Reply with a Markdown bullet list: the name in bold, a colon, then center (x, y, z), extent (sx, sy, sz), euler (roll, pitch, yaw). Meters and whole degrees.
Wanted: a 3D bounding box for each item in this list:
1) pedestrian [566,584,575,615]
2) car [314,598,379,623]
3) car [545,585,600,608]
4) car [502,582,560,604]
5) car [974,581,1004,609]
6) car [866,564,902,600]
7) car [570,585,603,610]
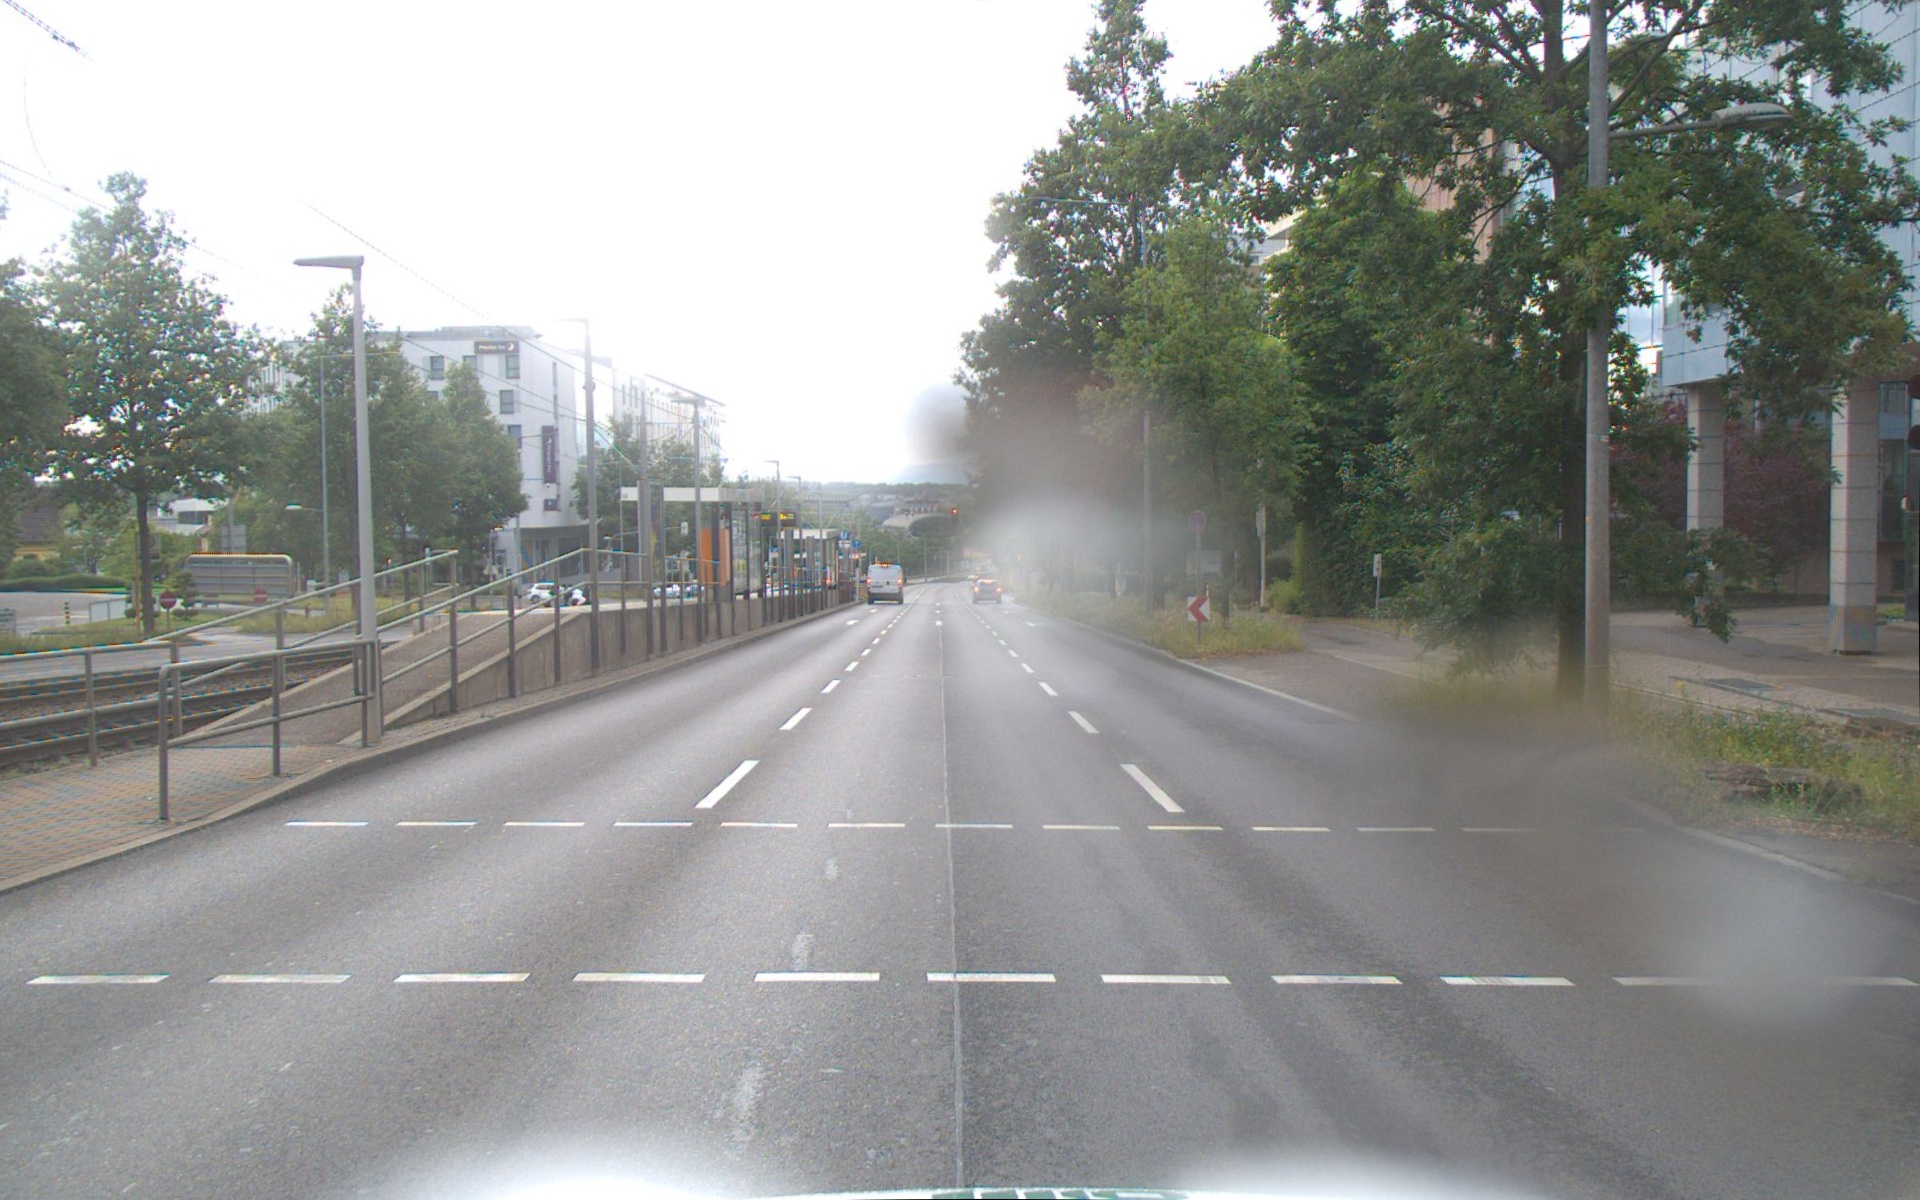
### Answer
- **pedestrian**: center (-24.639, -0.038, 104.716), extent (0.465, 1.954, 0.490), euler (0, 0, -1)
- **car**: center (-35.258, 0.582, 95.082), extent (3.297, 1.411, 1.434), euler (0, 1, 16)
- **car**: center (-26.865, -0.221, 114.629), extent (3.801, 1.461, 1.650), euler (-2, 1, 36)
- **car**: center (-31.504, -0.502, 121.529), extent (4.022, 1.461, 1.649), euler (-3, 1, -16)
- **car**: center (1.776, -0.334, 102.856), extent (1.738, 1.720, 3.845), euler (0, 1, -1)
- **car**: center (-4.478, -1.086, 98.037), extent (2.051, 2.089, 4.604), euler (0, 1, -2)
- **car**: center (-23.323, -0.124, 103.118), extent (1.625, 1.461, 3.860), euler (-2, 1, -18)
